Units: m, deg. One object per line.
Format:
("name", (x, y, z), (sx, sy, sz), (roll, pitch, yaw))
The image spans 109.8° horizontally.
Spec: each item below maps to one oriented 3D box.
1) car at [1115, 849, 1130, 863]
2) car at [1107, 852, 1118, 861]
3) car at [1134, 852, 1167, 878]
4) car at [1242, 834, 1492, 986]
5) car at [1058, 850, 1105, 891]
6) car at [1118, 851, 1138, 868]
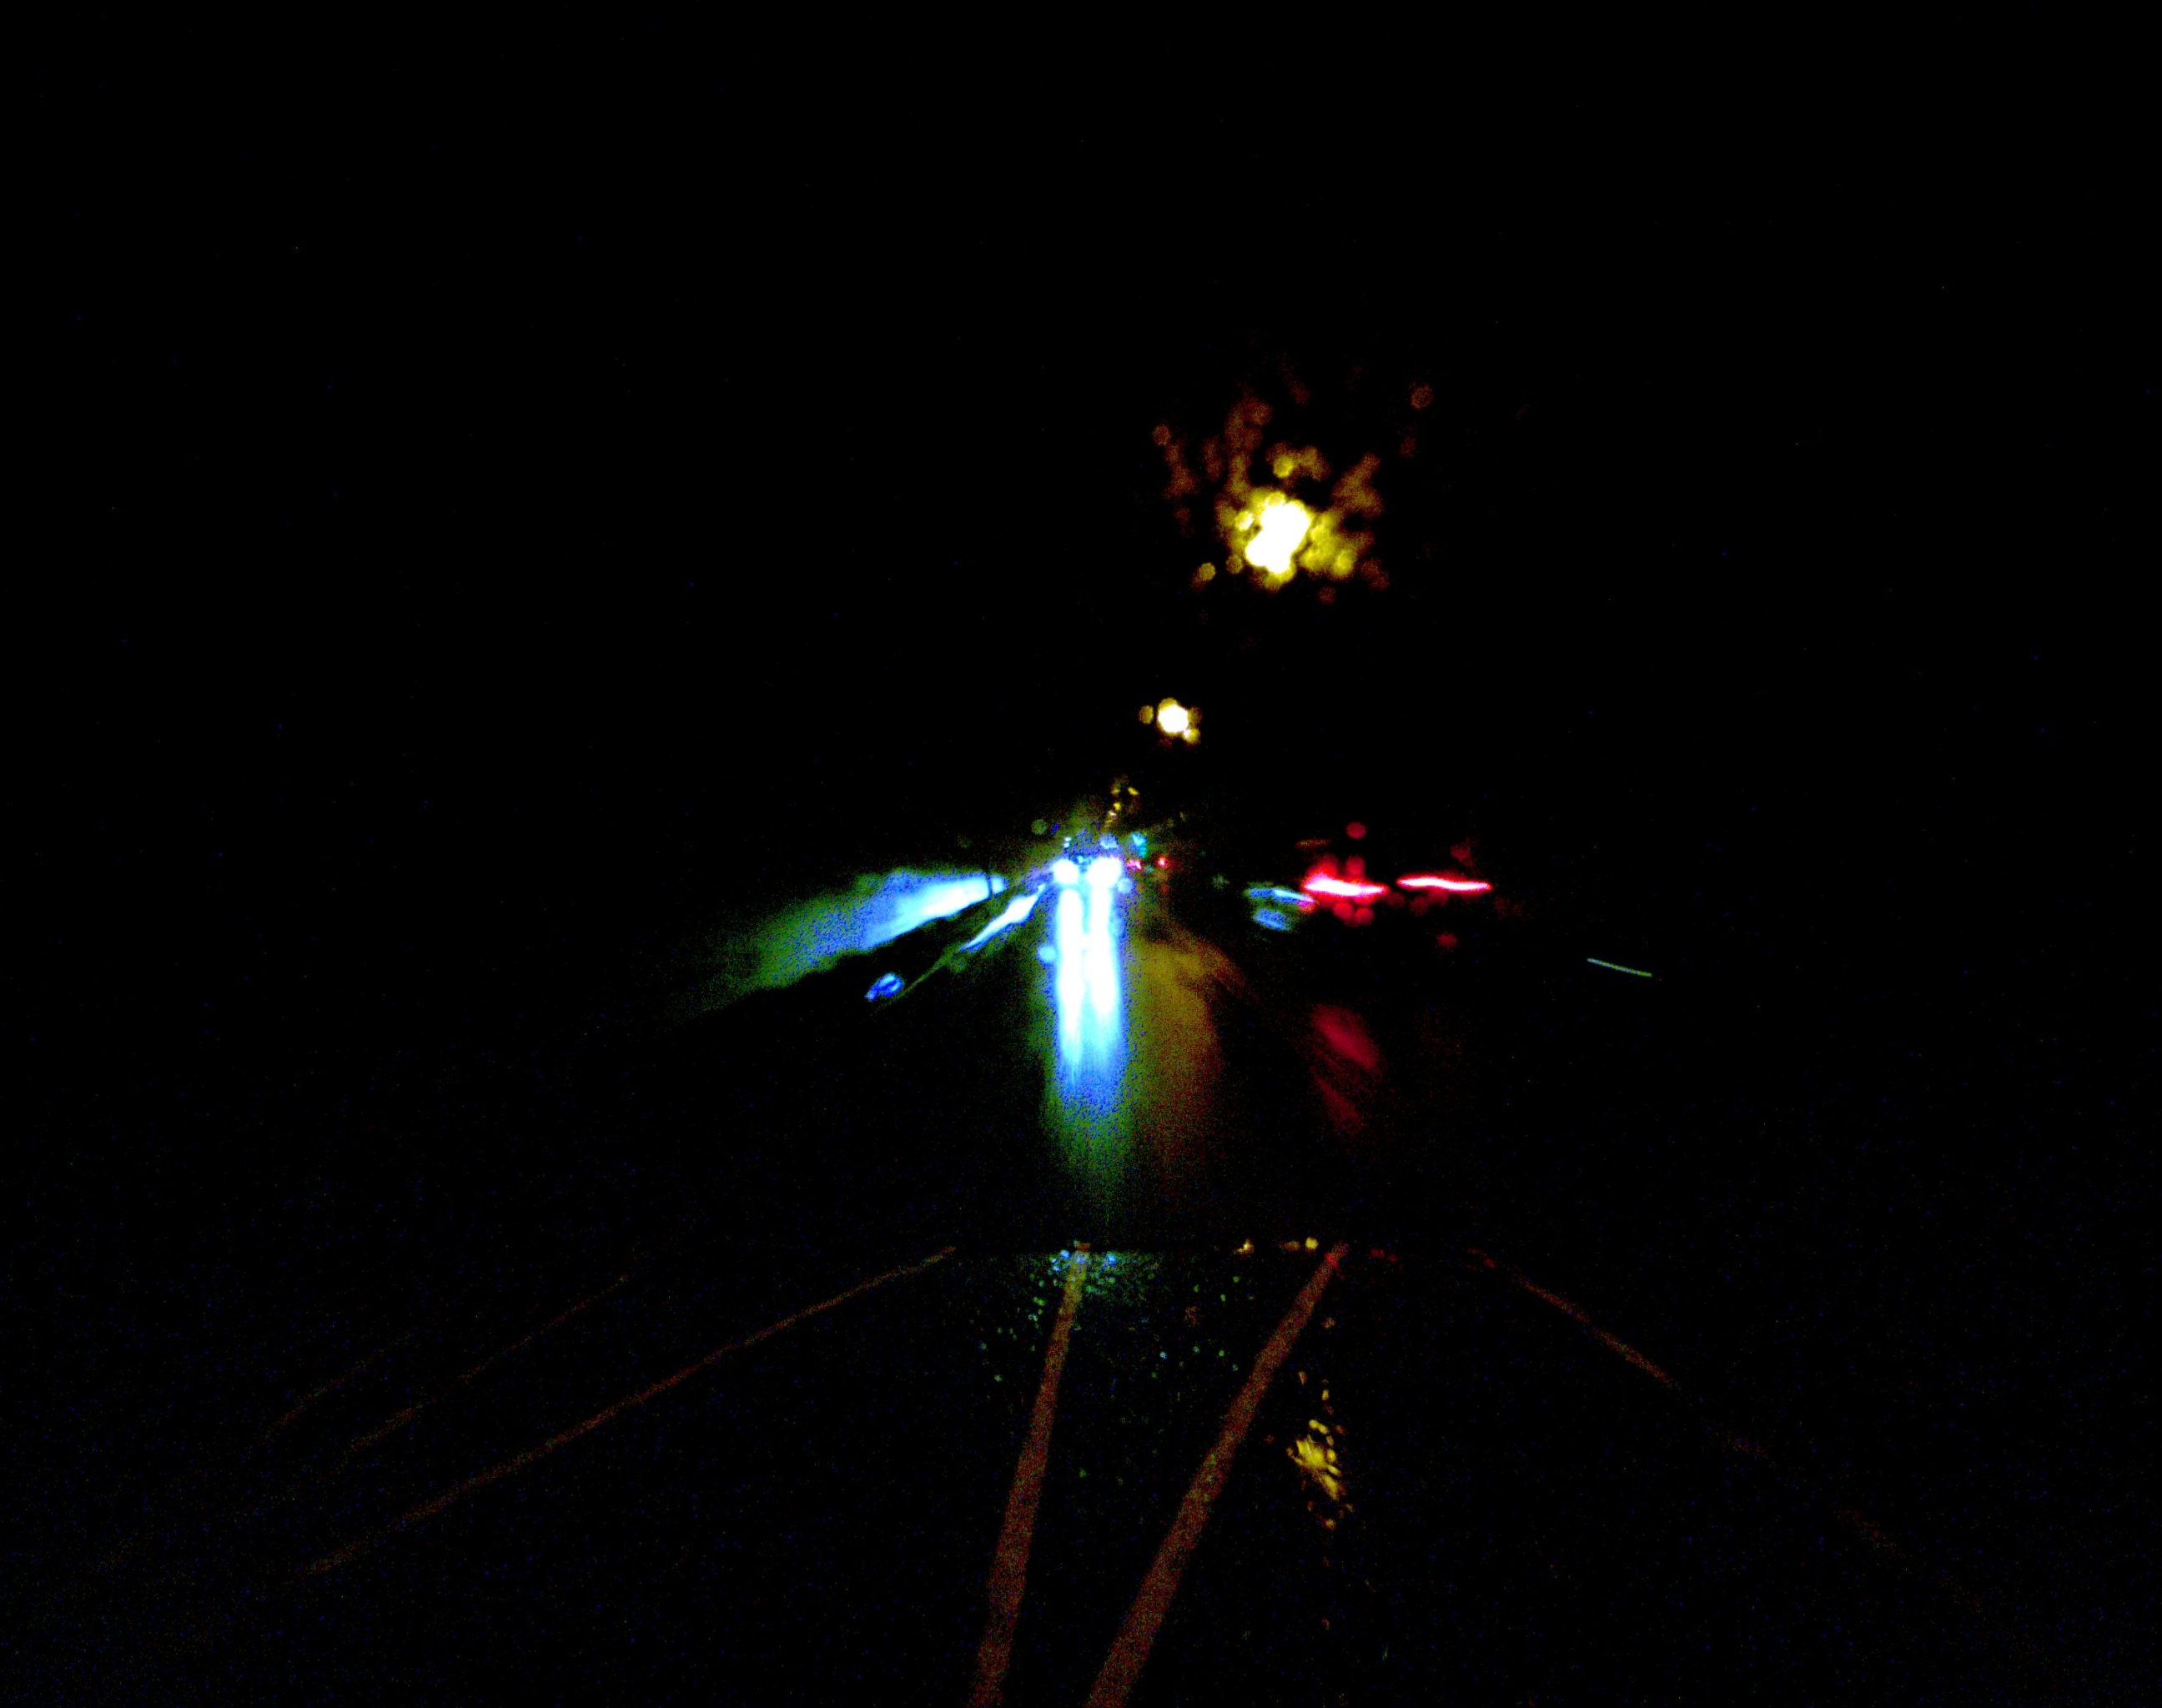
("car", (5.128, 0.236, 94.154), (1.673, 1.637, 3.907), (1, -1, 1))
("car", (5.473, 0.423, 132.911), (1.715, 1.454, 3.575), (-1, 0, 1))
("car", (4.132, 0.623, 45.451), (1.694, 1.414, 3.625), (-1, 0, 1))
("car", (3.783, 0.649, 10.982), (1.998, 1.699, 4.280), (-2, 0, 1))
("car", (0.059, 0.713, 36.180), (1.998, 1.547, 3.998), (-5, 2, 1))
("car", (4.536, 0.486, 73.427), (1.705, 1.546, 3.873), (-2, 0, 1))
